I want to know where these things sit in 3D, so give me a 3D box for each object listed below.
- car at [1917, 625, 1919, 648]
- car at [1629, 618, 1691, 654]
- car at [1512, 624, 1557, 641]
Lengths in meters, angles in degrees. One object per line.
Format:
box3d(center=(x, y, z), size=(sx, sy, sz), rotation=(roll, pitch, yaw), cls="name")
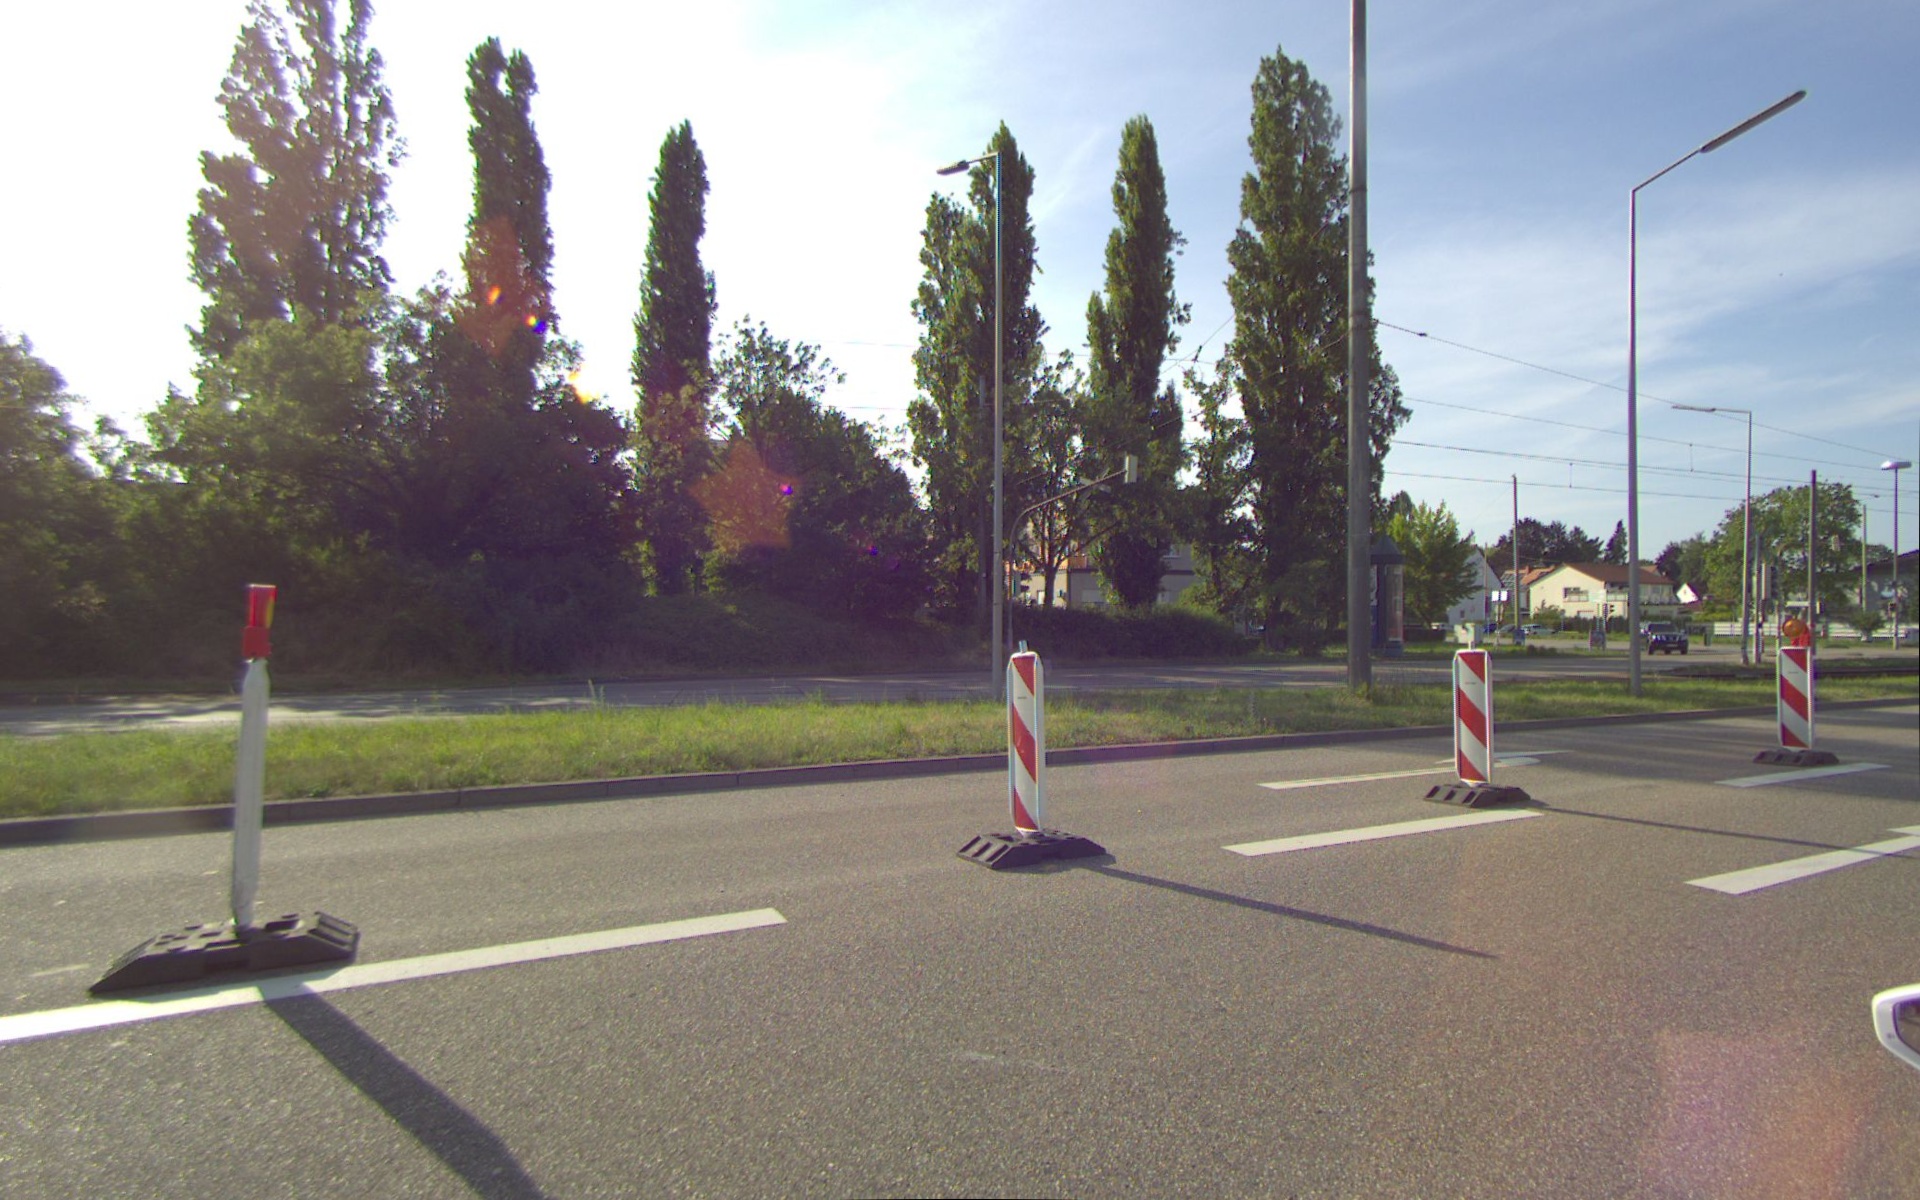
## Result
box3d(center=(63.454, 2.341, 63.436), size=(1.972, 1.505, 3.977), rotation=(1, -1, -24), cls="car")
box3d(center=(41.277, 2.097, 59.360), size=(1.962, 2.040, 5.355), rotation=(0, -1, 23), cls="car")
box3d(center=(62.226, 3.488, 108.782), size=(4.154, 1.706, 1.992), rotation=(2, 0, -18), cls="car")
